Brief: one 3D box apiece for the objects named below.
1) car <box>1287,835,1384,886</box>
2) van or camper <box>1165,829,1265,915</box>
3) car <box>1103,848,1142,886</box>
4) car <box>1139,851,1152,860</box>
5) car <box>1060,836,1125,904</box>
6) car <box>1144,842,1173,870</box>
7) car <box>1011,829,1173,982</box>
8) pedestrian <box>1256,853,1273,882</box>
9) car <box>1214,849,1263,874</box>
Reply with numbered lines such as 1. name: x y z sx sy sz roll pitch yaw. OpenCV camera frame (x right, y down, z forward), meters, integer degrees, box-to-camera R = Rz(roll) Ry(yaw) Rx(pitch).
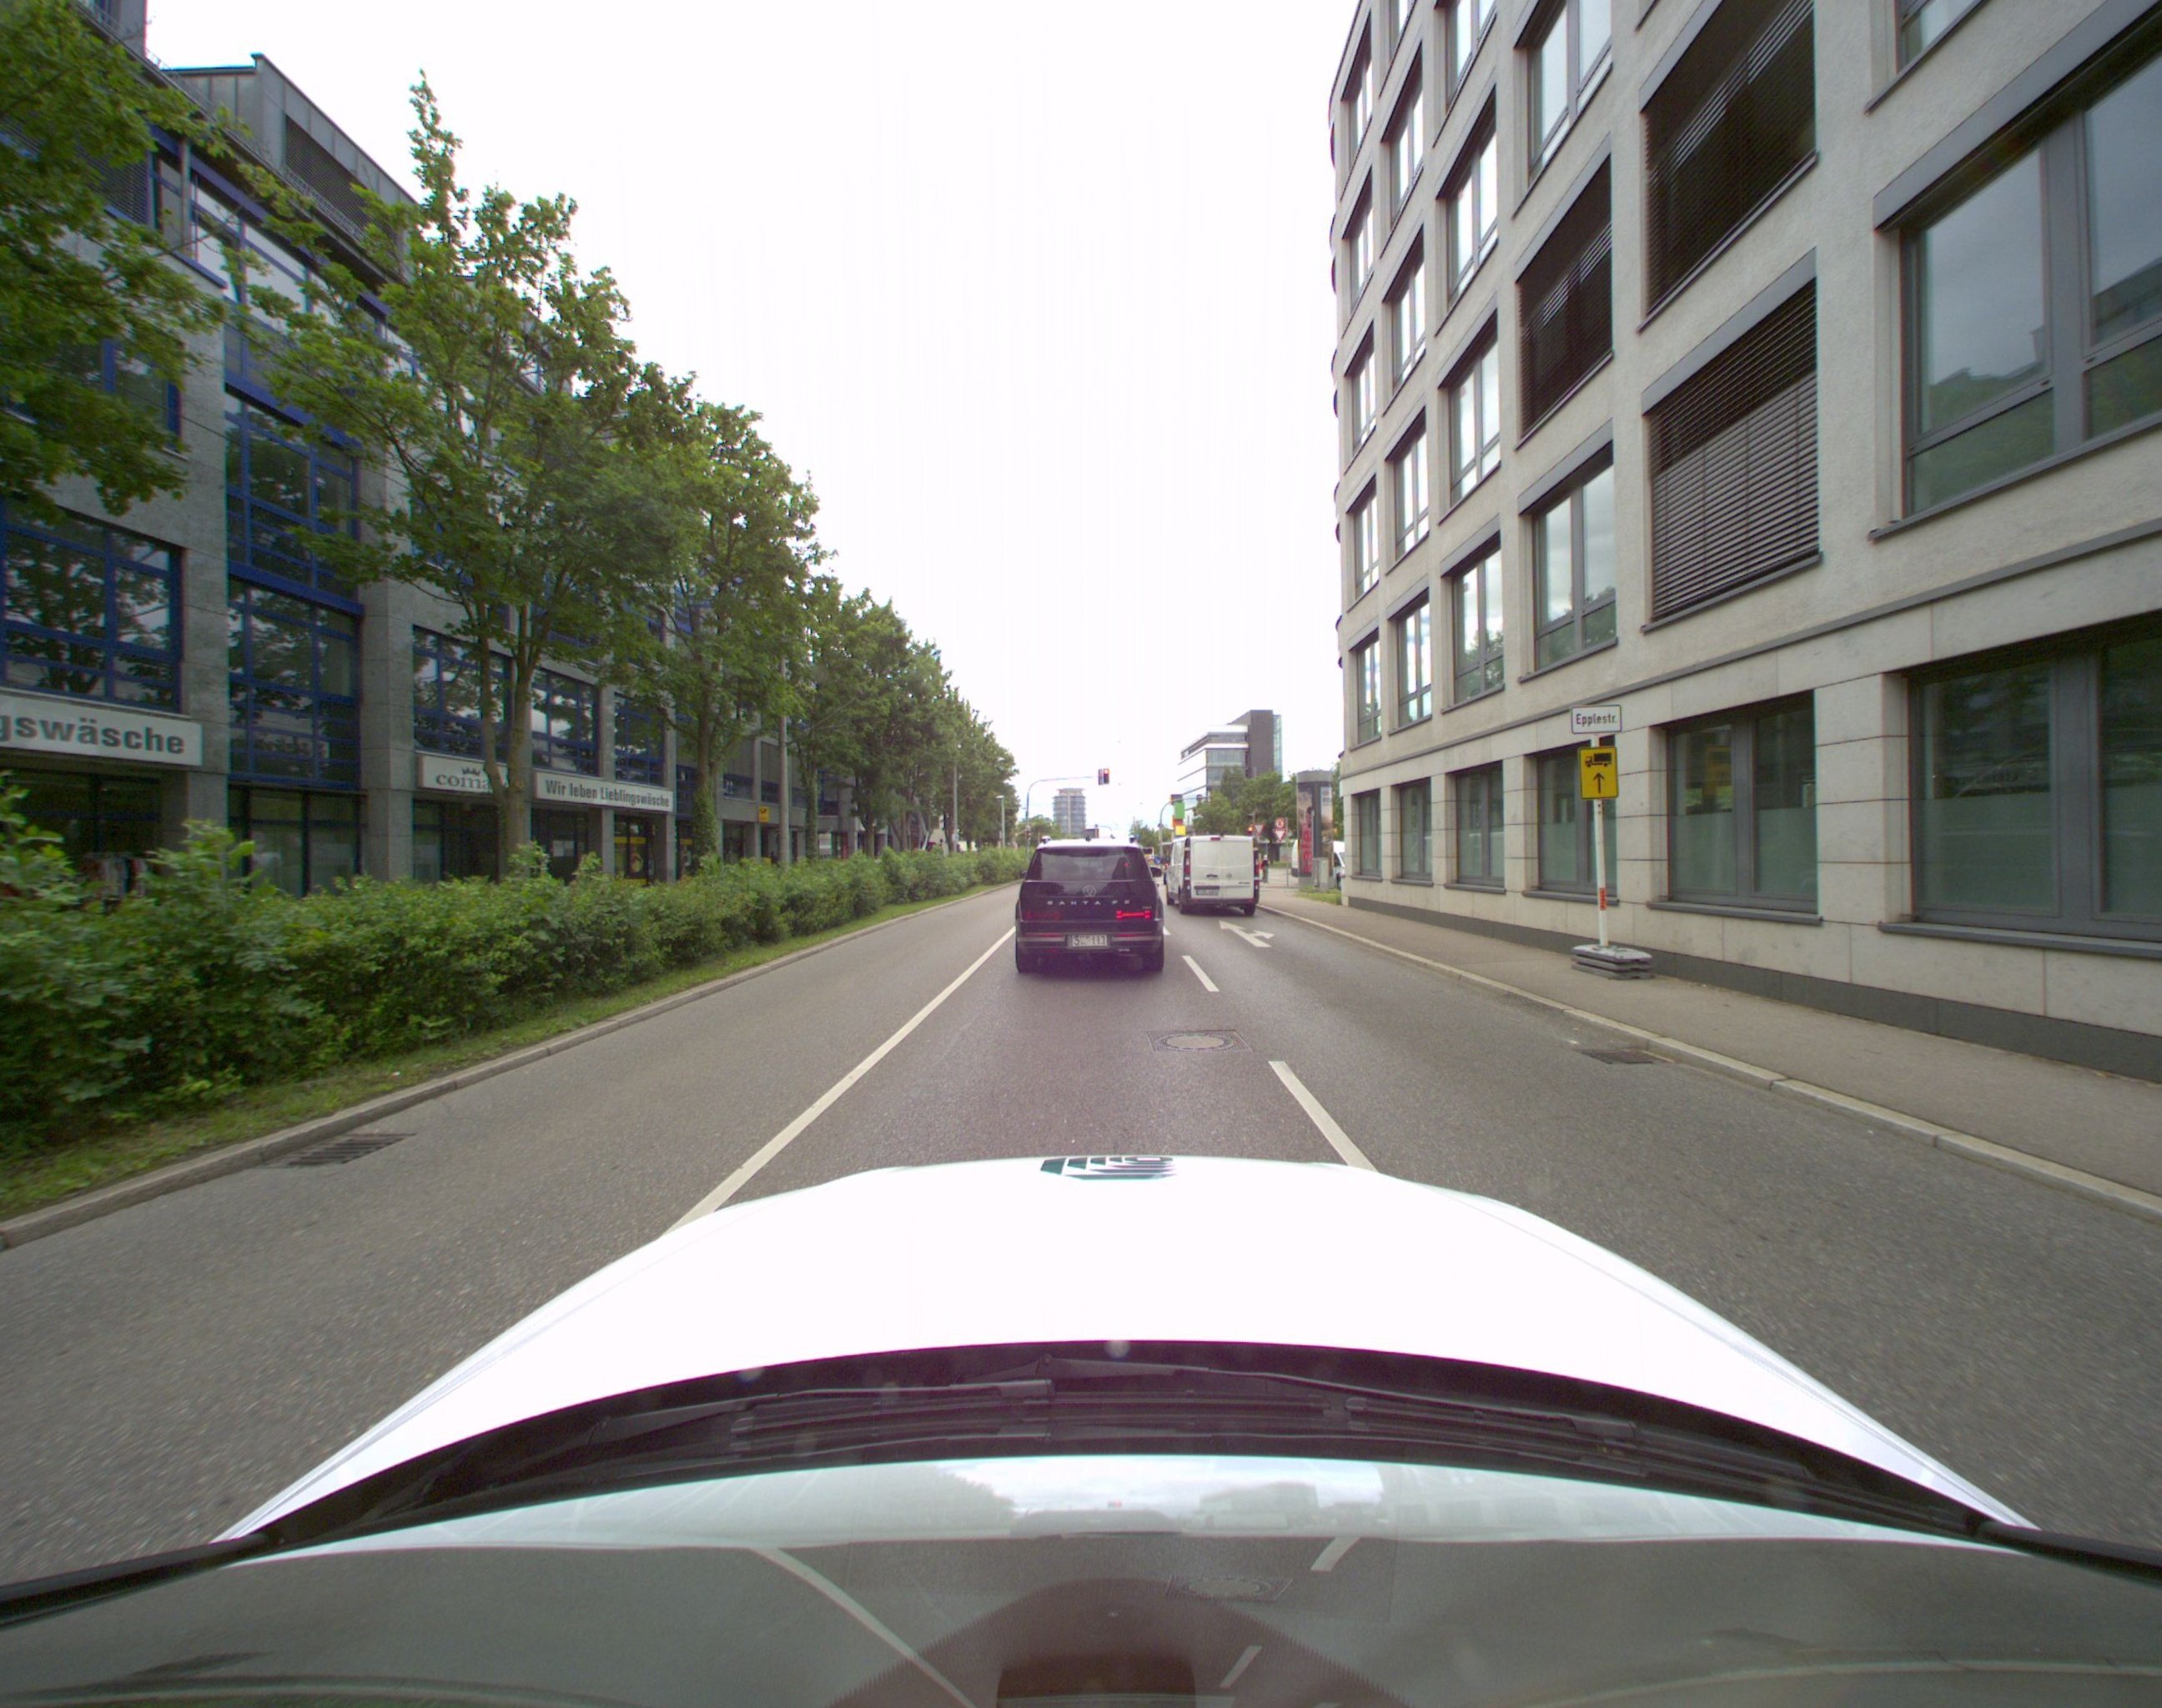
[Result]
1. car: 13.737 0.370 44.381 2.302 2.573 5.807 0 -1 -15
2. van or camper: 3.407 0.422 21.523 1.986 2.013 4.654 0 0 1
3. car: 2.053 0.625 39.847 1.768 1.717 4.342 0 -1 3
4. car: 12.024 0.316 151.465 1.988 1.684 3.998 0 -1 -1
5. car: 0.399 0.472 26.362 1.908 2.003 3.881 -1 0 1
6. car: 5.688 0.162 60.233 1.985 2.014 4.002 0 -1 2
7. car: 0.177 0.600 11.477 1.862 1.760 3.881 -1 0 1
8. pedestrian: 10.356 0.760 45.955 0.744 1.584 0.567 1 0 -39
9. car: 10.886 0.539 56.552 1.703 1.684 3.767 0 -1 -18
